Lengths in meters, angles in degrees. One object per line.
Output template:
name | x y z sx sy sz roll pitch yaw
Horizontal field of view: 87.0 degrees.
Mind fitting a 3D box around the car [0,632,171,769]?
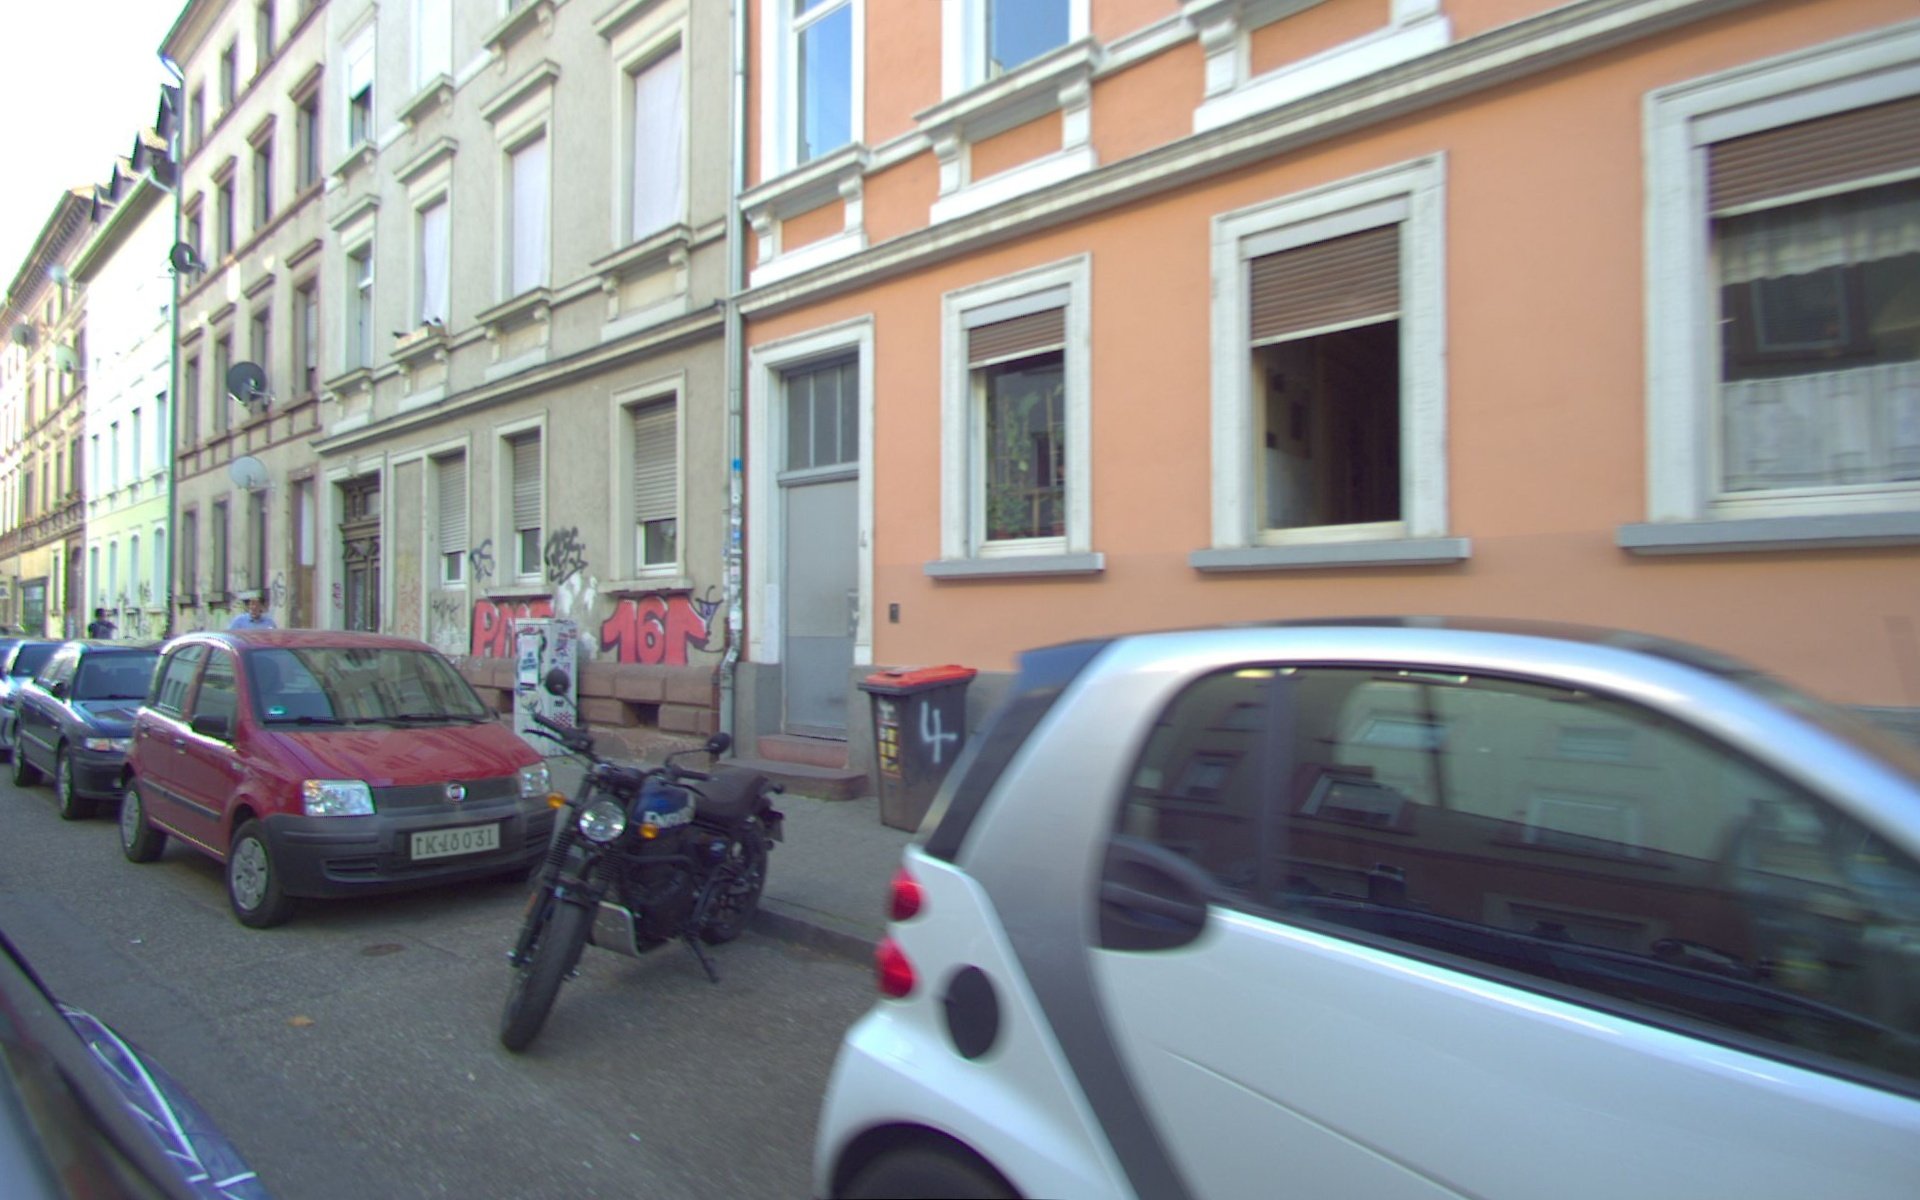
car | -11.379 1.155 12.873 1.660 1.474 3.862 1 -2 -45

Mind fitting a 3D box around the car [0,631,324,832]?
car | -7.673 1.034 9.538 4.310 1.474 1.661 -2 -2 41

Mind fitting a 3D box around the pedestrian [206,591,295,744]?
pedestrian | -8.867 0.816 12.652 0.594 1.844 0.780 -2 -1 41

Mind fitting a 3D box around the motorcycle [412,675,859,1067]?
motorcycle | -1.234 0.970 4.431 0.784 1.137 2.068 -1 0 19

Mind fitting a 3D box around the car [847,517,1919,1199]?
car | 1.465 0.730 1.629 2.955 1.561 1.663 -1 -3 37

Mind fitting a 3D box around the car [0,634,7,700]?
car | -23.333 1.524 23.279 3.858 1.468 1.661 -2 -2 41

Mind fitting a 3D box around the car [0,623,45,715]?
car | -19.162 1.295 19.601 3.858 1.696 1.661 -2 -2 41

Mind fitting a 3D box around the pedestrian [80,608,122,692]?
pedestrian | -19.317 1.117 22.759 0.594 1.844 0.618 -2 -1 42

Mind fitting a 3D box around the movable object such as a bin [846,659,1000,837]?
movable object such as a bin | -0.249 0.962 6.873 0.768 1.057 0.663 -2 0 -41

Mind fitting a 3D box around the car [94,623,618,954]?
car | -3.937 0.911 6.407 3.607 1.504 1.663 -1 -2 38

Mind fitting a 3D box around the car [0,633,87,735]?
car | -15.369 1.269 16.134 3.858 1.474 1.661 -2 -2 41
